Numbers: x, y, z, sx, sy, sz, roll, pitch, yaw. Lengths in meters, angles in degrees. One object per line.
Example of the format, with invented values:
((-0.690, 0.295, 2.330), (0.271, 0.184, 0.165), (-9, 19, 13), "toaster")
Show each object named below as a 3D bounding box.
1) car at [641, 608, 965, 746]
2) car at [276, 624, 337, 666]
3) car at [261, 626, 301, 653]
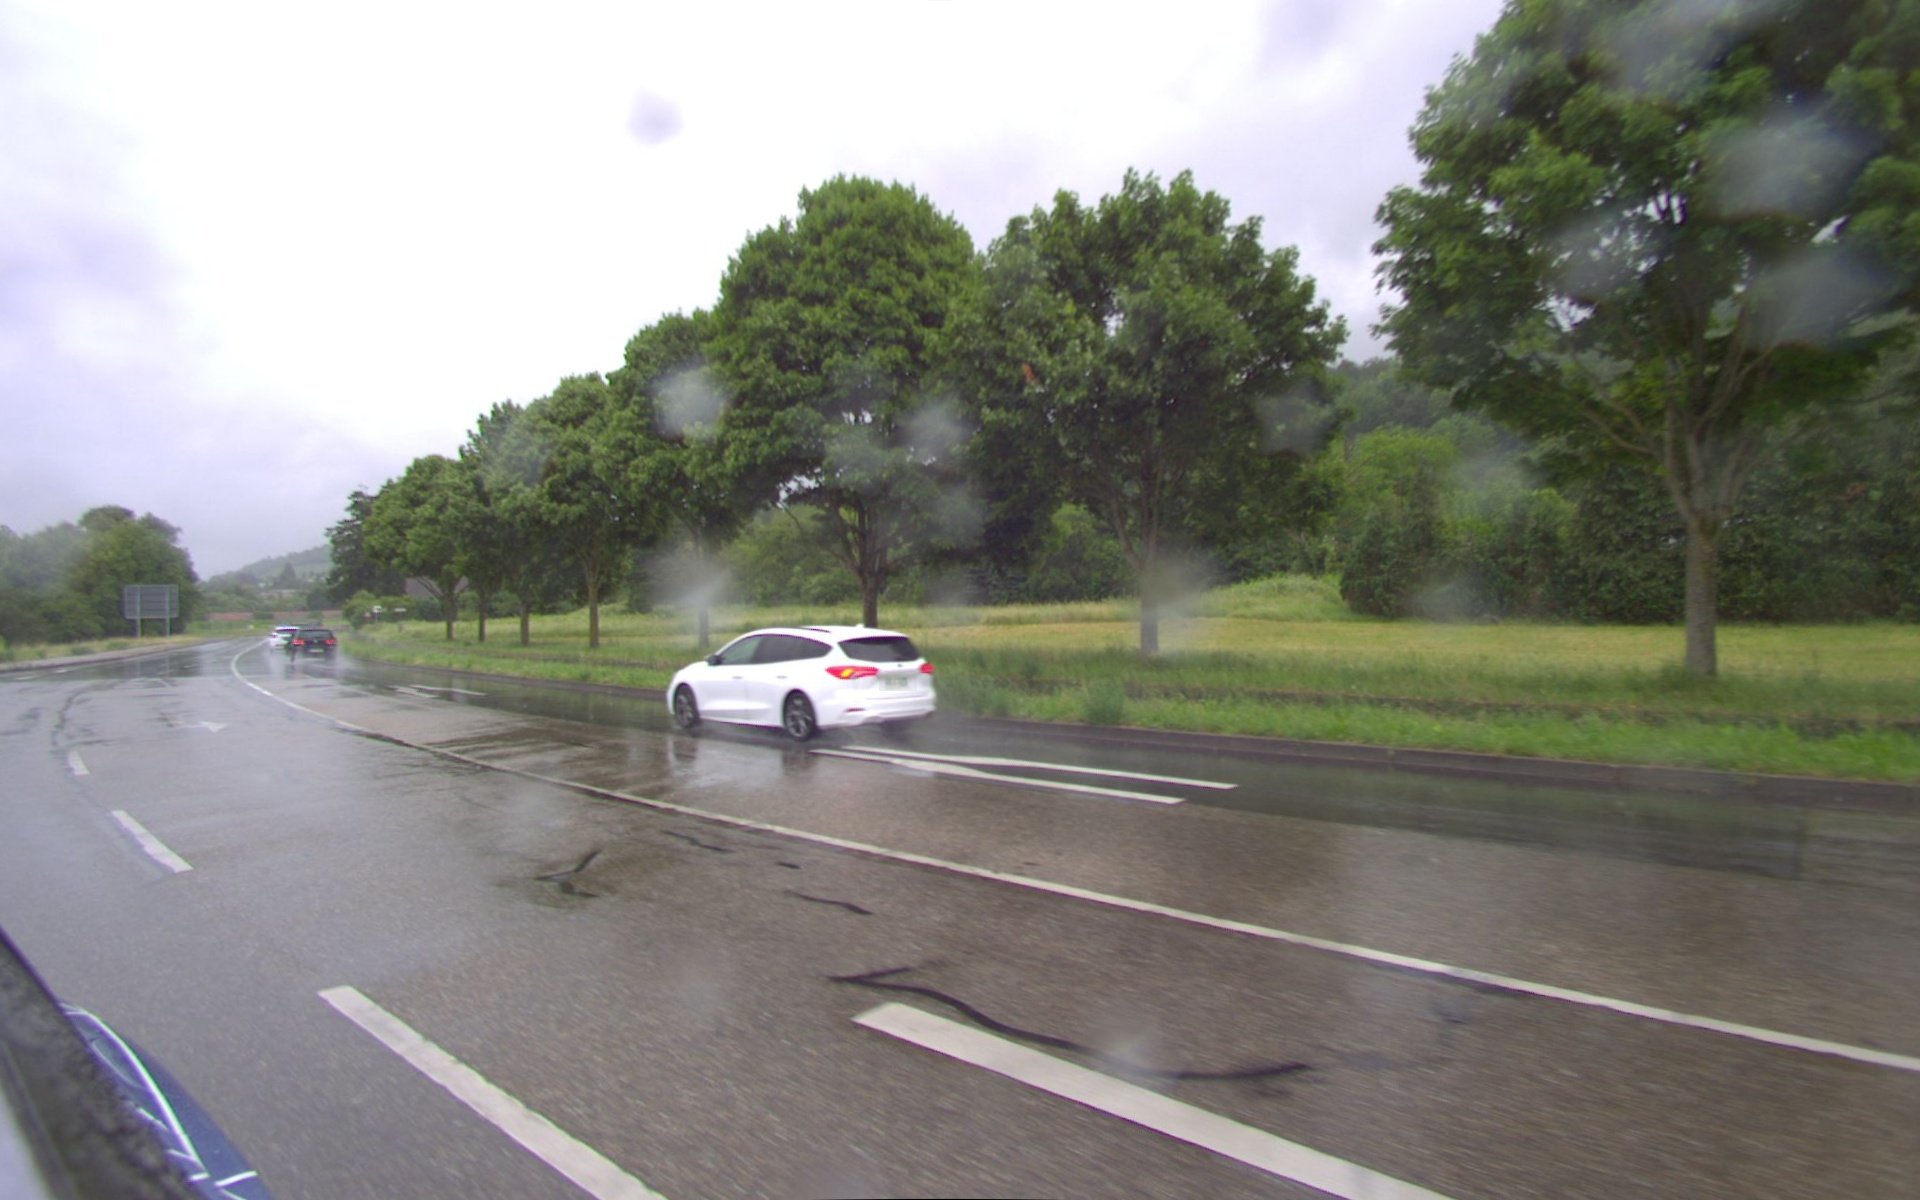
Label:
((-2.281, 0.935, 13.876), (4.642, 1.585, 1.859), (-1, -2, 41), "car")
((-28.602, 1.920, 44.240), (1.860, 1.599, 4.127), (-3, 1, -38), "car")
((-38.639, 2.212, 57.579), (1.716, 1.498, 4.020), (1, -2, -36), "car")
